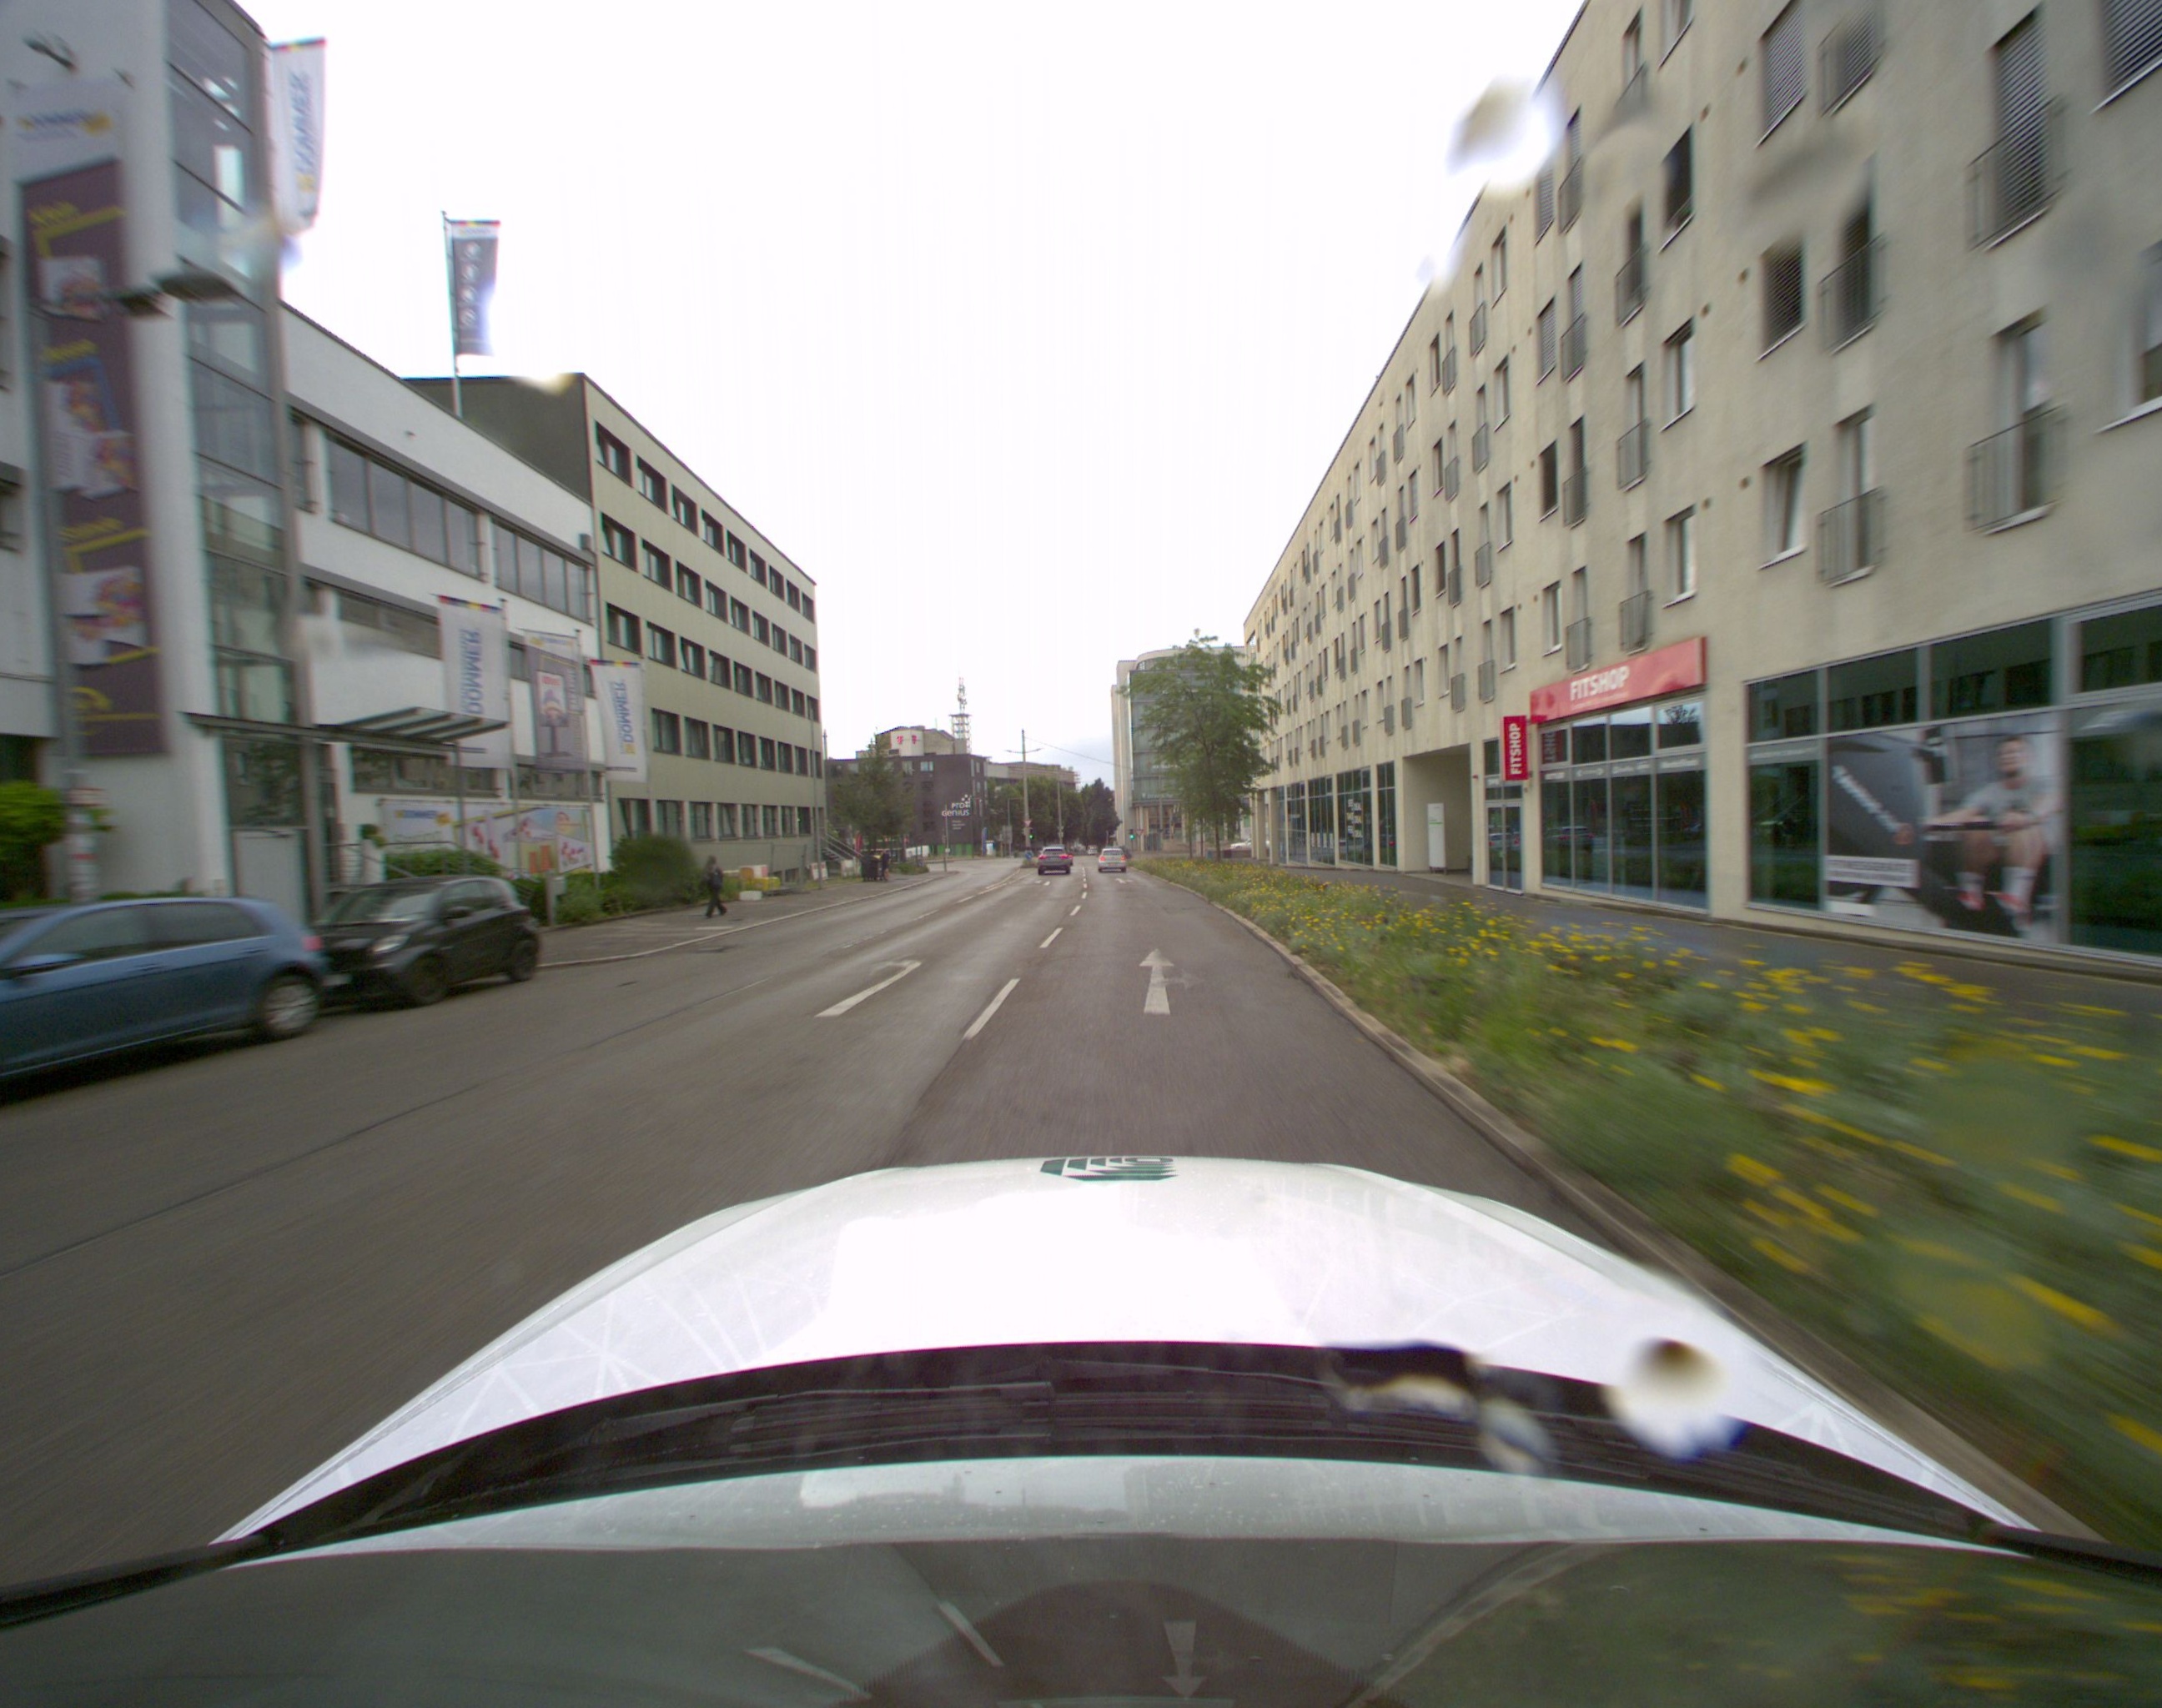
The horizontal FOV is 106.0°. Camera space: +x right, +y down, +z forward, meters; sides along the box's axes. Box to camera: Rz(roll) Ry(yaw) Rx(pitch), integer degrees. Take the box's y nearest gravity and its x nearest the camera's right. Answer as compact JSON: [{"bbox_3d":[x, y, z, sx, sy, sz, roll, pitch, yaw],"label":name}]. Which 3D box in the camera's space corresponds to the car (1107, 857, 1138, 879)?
[{"bbox_3d":[3.115,1.034,61.270,1.988,1.508,3.997,-2,0,-2],"label":"car"}]

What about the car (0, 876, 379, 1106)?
[{"bbox_3d":[-8.328,0.996,6.439,1.910,1.481,4.351,-2,0,-3],"label":"car"}]

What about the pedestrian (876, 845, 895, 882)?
[{"bbox_3d":[-10.651,0.509,44.435,0.960,1.955,0.775,-2,0,-13],"label":"pedestrian"}]

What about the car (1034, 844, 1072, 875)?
[{"bbox_3d":[-1.645,0.302,48.653,2.135,1.728,3.998,-2,0,-1],"label":"car"}]

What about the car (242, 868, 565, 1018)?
[{"bbox_3d":[-8.586,1.022,10.709,1.559,1.514,3.168,-3,0,-2],"label":"car"}]

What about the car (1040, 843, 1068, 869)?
[{"bbox_3d":[-2.017,0.169,61.298,1.989,1.819,3.996,-2,0,-3],"label":"car"}]

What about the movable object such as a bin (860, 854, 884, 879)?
[{"bbox_3d":[-11.527,0.700,45.017,1.206,1.321,0.871,-2,1,-13],"label":"movable object such as a bin"}]

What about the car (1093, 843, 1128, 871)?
[{"bbox_3d":[1.881,0.153,50.561,1.985,1.576,4.001,-2,1,4],"label":"car"}]

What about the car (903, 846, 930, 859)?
[{"bbox_3d":[-27.600,-0.288,136.852,3.960,2.013,2.007,-2,0,12],"label":"car"}]

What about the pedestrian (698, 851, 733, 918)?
[{"bbox_3d":[-9.725,0.797,21.659,0.732,1.708,0.895,-2,-1,-28],"label":"pedestrian"}]
